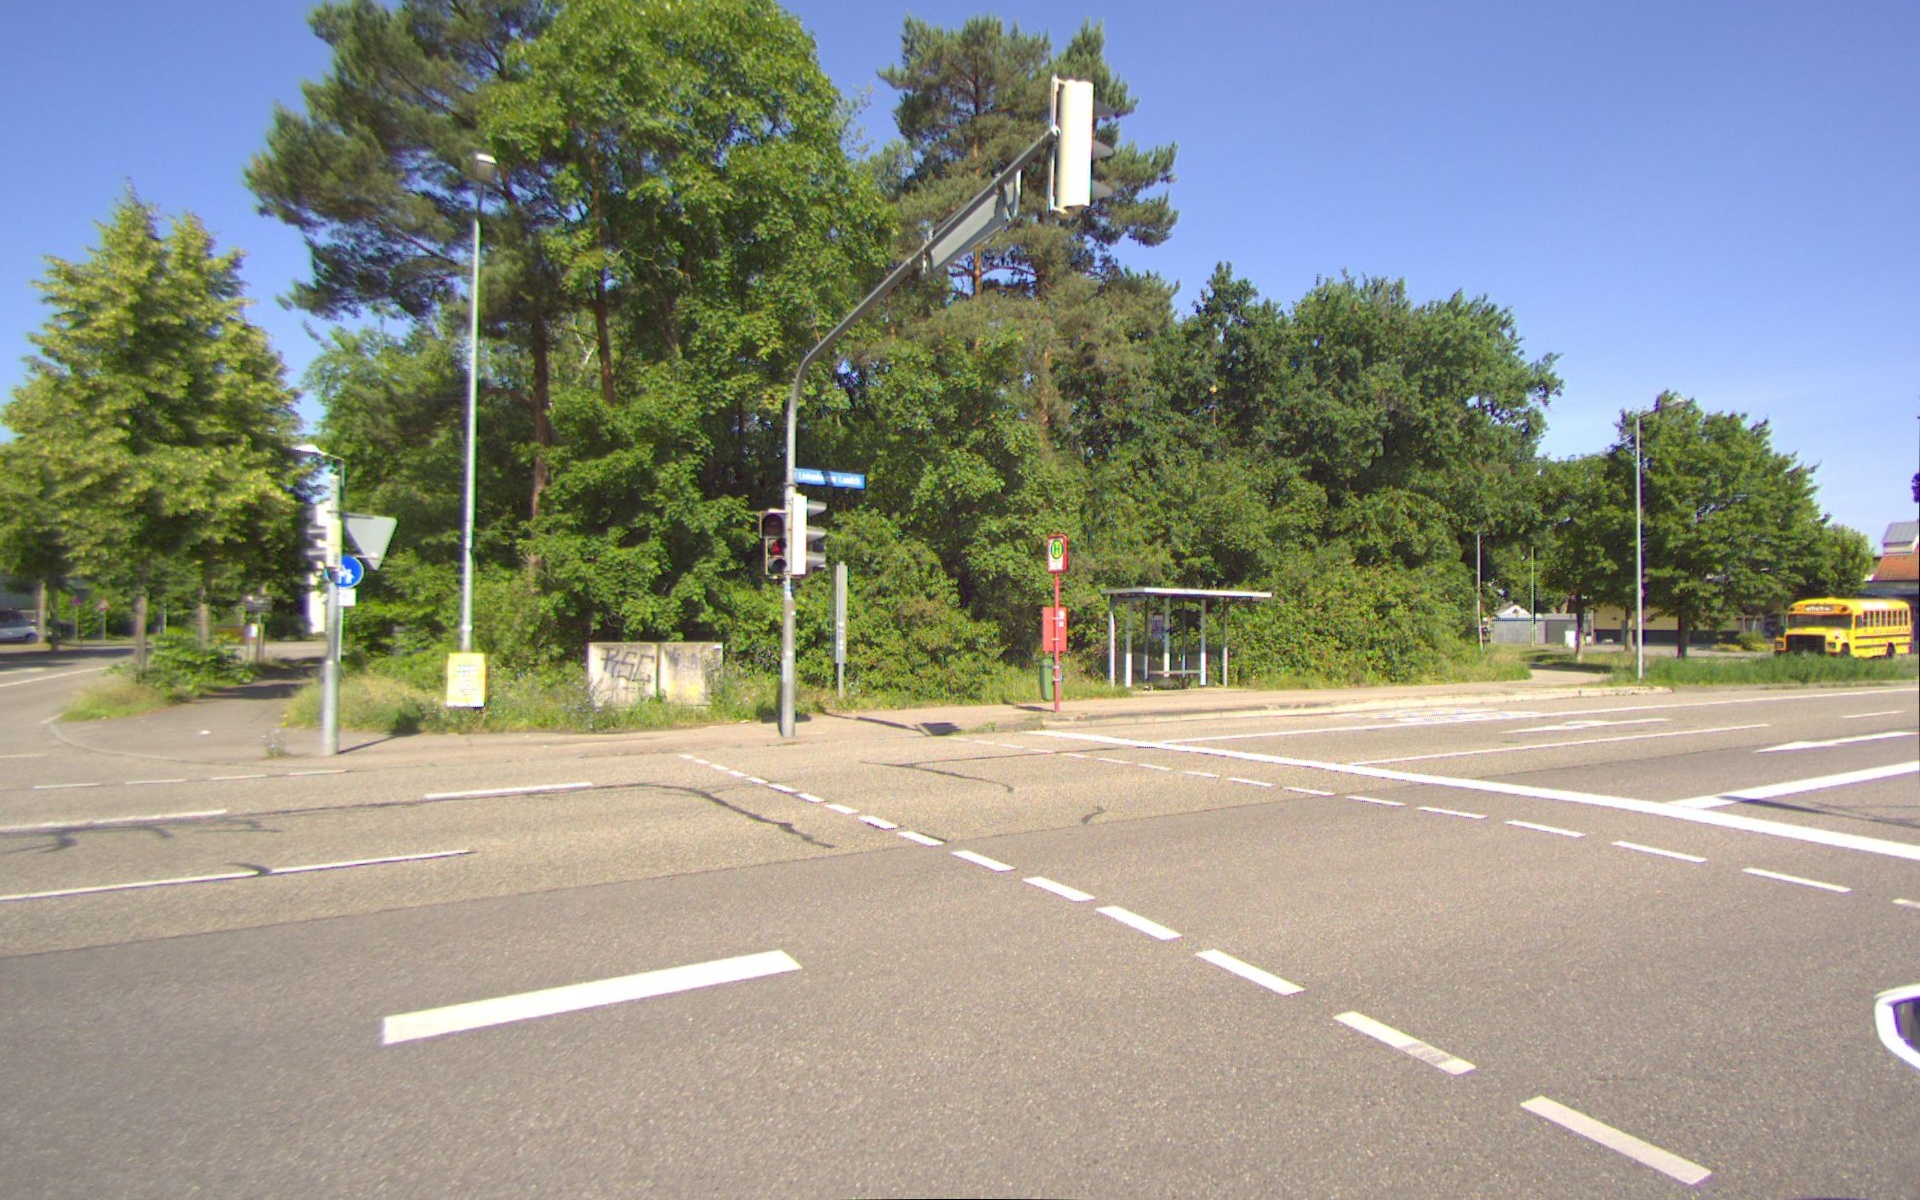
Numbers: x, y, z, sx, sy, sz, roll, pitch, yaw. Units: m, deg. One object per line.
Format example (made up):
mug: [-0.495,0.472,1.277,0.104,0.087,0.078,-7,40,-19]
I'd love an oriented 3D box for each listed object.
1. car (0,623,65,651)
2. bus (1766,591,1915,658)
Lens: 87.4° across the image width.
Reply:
car: [-58.183,2.298,62.343,3.638,1.584,1.598,2,0,-7]
bus: [39.214,1.120,44.635,8.899,2.715,2.564,2,0,-33]
